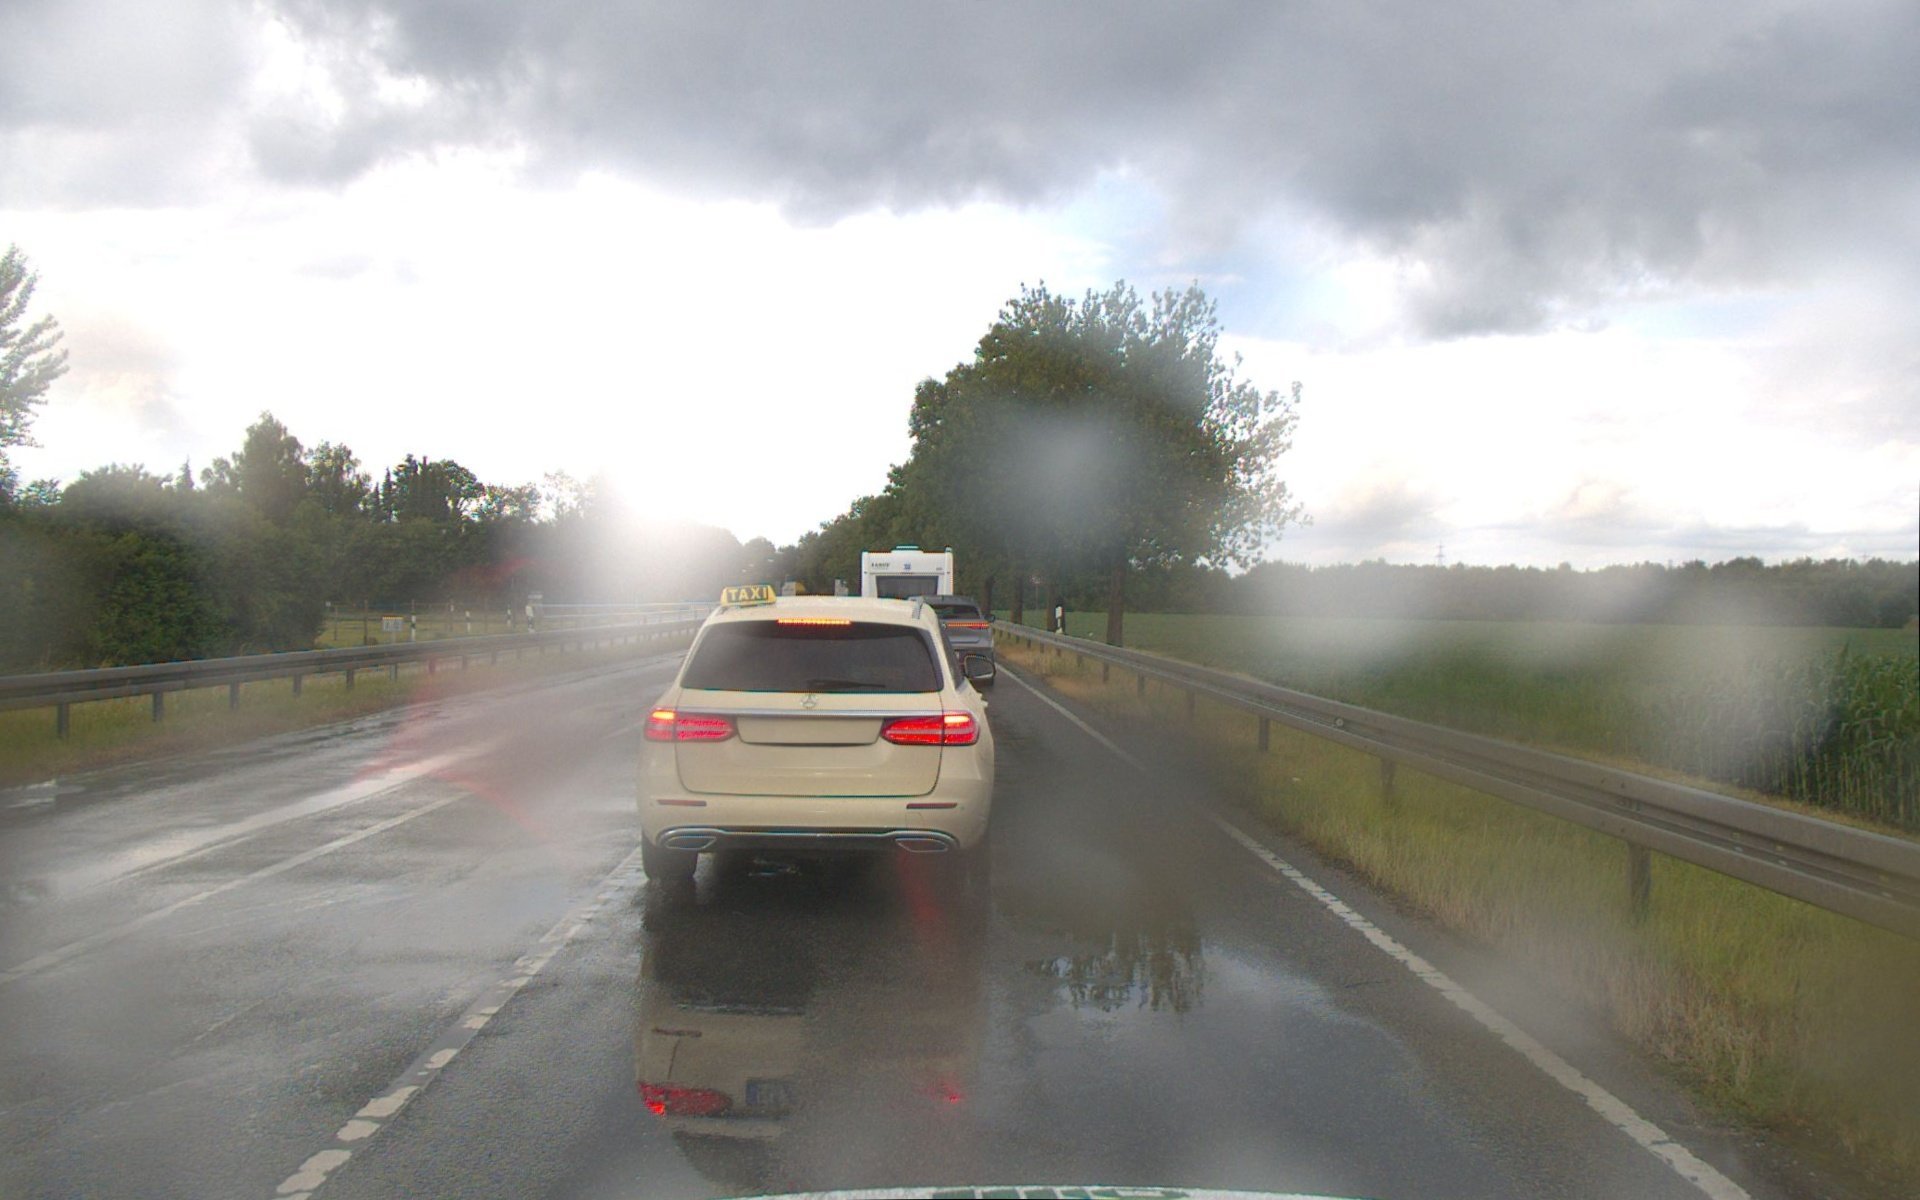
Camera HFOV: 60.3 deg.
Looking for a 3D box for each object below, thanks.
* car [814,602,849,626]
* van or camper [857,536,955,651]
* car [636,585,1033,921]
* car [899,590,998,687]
[{"bbox_3d":[-7.321,0.791,94.487,1.723,1.291,3.999,1,0,-1],"label":"car"},{"bbox_3d":[-1.355,-0.174,42.554,2.303,2.727,5.767,1,0,-1],"label":"van or camper"},{"bbox_3d":[-0.566,0.689,9.545,1.787,1.511,4.145,0,0,0],"label":"car"},{"bbox_3d":[-0.227,0.622,28.900,1.594,1.556,3.931,1,0,-1],"label":"car"}]
